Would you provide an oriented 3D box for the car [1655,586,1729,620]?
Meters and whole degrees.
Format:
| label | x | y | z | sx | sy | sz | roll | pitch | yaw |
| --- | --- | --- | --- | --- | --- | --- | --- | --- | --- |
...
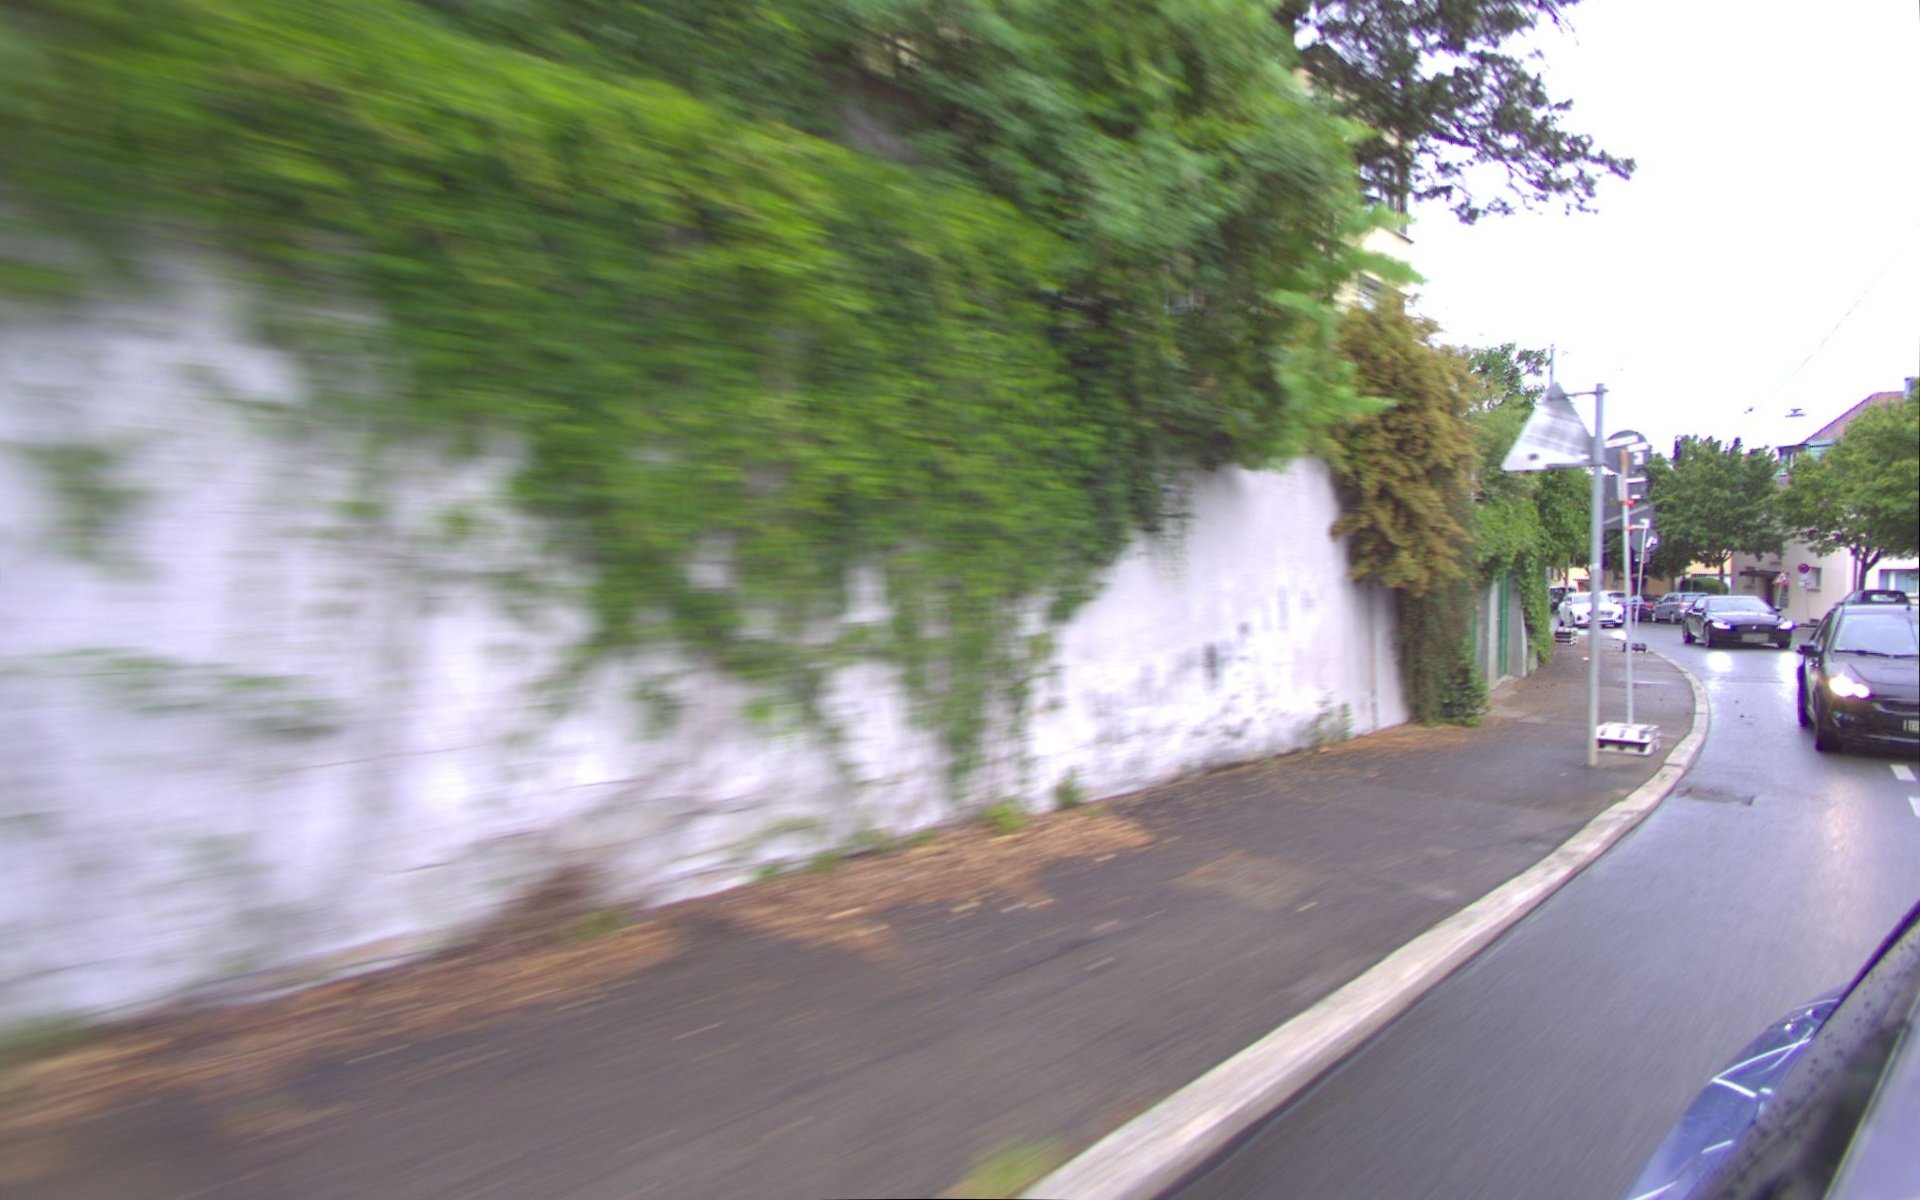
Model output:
| label | x | y | z | sx | sy | sz | roll | pitch | yaw |
| --- | --- | --- | --- | --- | --- | --- | --- | --- | --- |
| car | 36.963 | 0.125 | 51.214 | 1.700 | 1.565 | 4.270 | 2 | 2 | 18 |

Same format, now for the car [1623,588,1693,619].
| label | x | y | z | sx | sy | sz | roll | pitch | yaw |
| --- | --- | --- | --- | --- | --- | --- | --- | --- | --- |
| car | 38.516 | 0.160 | 55.975 | 1.803 | 1.528 | 4.714 | 1 | 1 | 17 |

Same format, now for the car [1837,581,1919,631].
| label | x | y | z | sx | sy | sz | roll | pitch | yaw |
| --- | --- | --- | --- | --- | --- | --- | --- | --- | --- |
| car | 30.415 | 0.169 | 33.248 | 1.505 | 1.554 | 3.014 | 1 | 1 | 22 |

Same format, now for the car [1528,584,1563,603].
| label | x | y | z | sx | sy | sz | roll | pitch | yaw |
| --- | --- | --- | --- | --- | --- | --- | --- | --- | --- |
| car | 45.644 | -0.508 | 79.000 | 1.522 | 1.390 | 3.522 | 2 | 2 | 16 |

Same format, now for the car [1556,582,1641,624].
| label | x | y | z | sx | sy | sz | roll | pitch | yaw |
| --- | --- | --- | --- | --- | --- | --- | --- | --- | --- |
| car | 29.279 | 0.098 | 46.574 | 1.991 | 1.760 | 4.576 | -2 | 0 | 16 |

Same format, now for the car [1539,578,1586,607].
| label | x | y | z | sx | sy | sz | roll | pitch | yaw |
| --- | --- | --- | --- | --- | --- | --- | --- | --- | --- |
| car | 44.050 | -0.567 | 74.088 | 1.798 | 2.037 | 4.539 | 2 | 1 | 16 |

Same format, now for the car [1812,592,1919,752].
| label | x | y | z | sx | sy | sz | roll | pitch | yaw |
| --- | --- | --- | --- | --- | --- | --- | --- | --- | --- |
| car | 10.235 | 0.661 | 10.741 | 1.740 | 1.460 | 4.294 | -1 | -1 | 41 |

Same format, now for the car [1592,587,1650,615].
| label | x | y | z | sx | sy | sz | roll | pitch | yaw |
| --- | --- | --- | --- | --- | --- | --- | --- | --- | --- |
| car | 39.899 | 0.031 | 61.200 | 1.790 | 1.634 | 4.482 | 1 | 1 | 18 |
